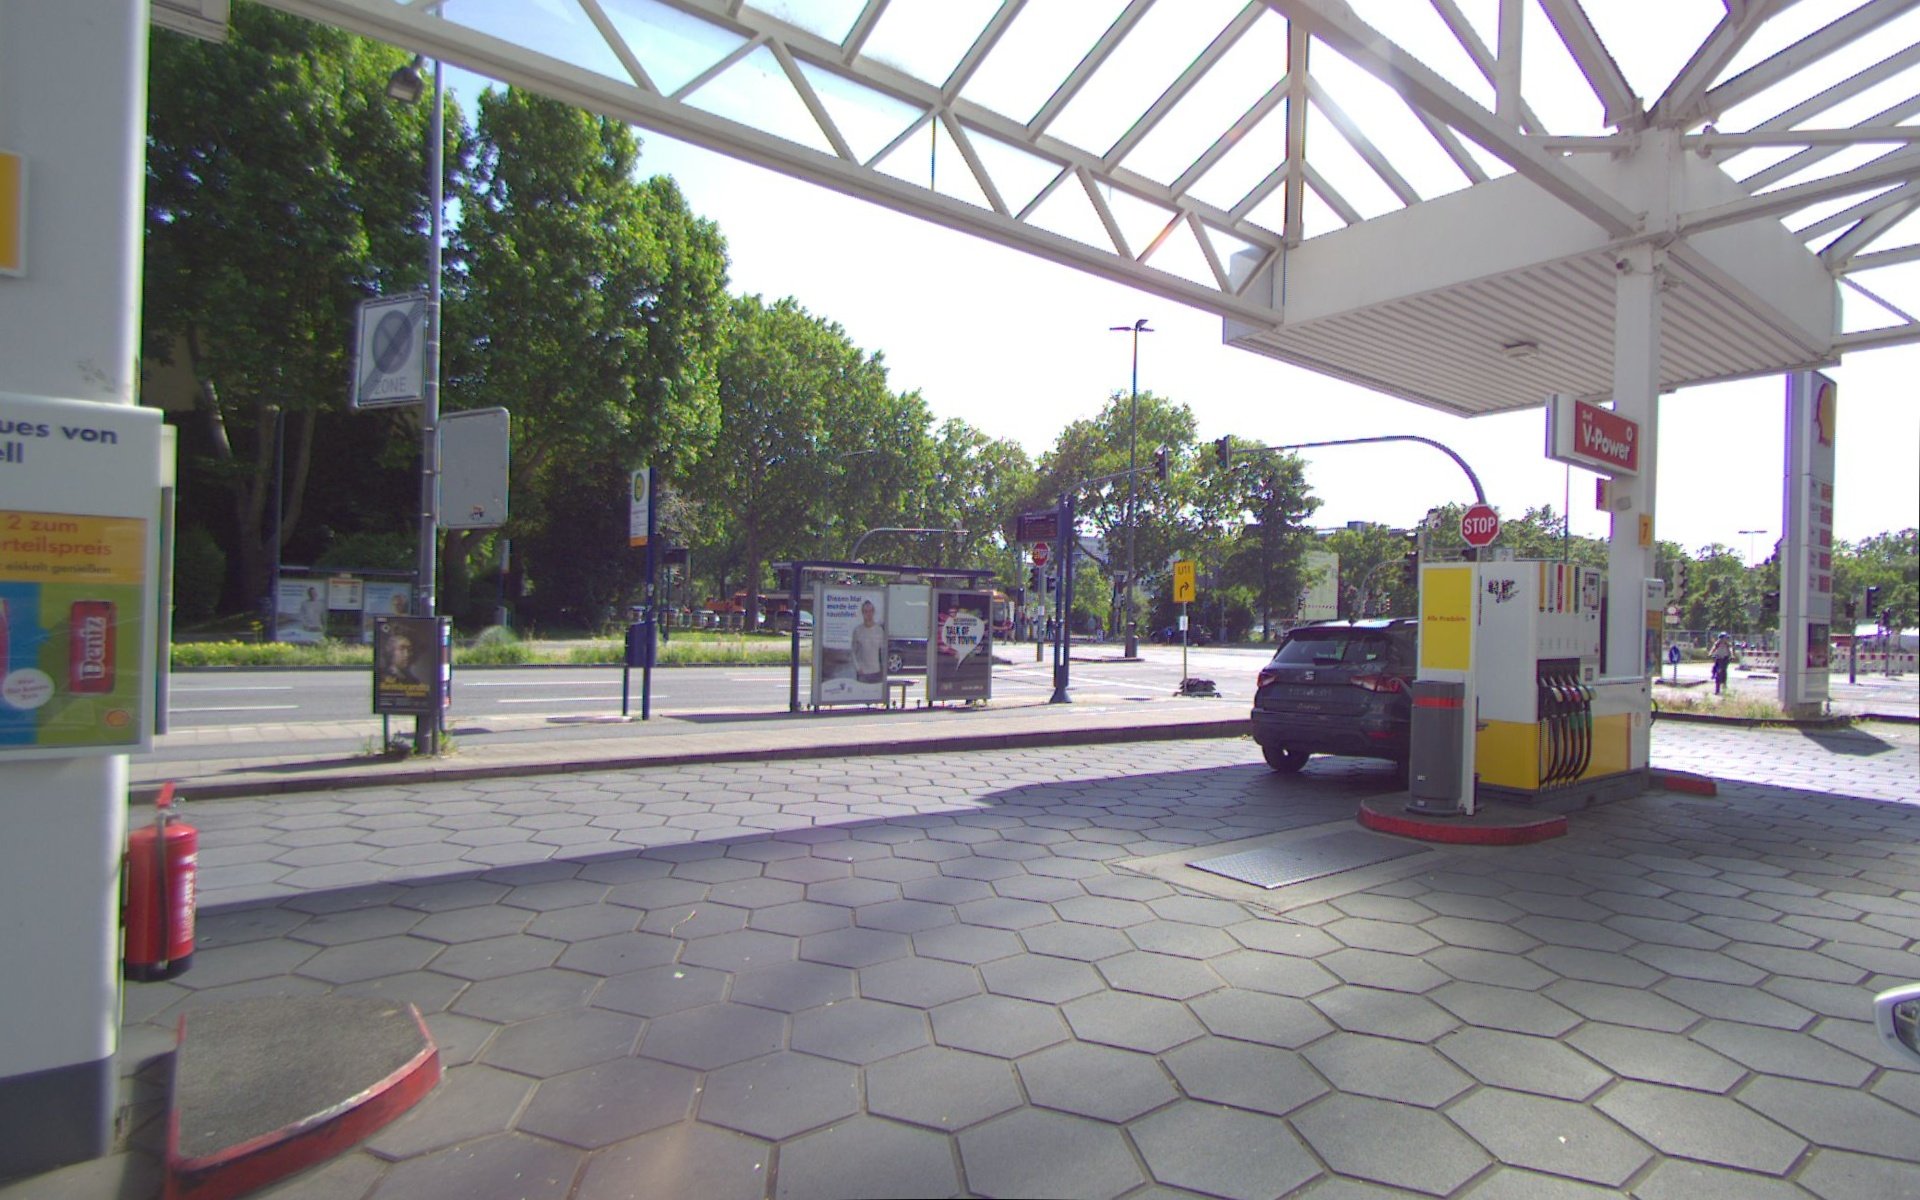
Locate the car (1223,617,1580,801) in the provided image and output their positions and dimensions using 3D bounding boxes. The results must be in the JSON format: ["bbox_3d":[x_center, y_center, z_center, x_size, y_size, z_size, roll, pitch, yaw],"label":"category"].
[{"bbox_3d":[4.674,1.012,10.404,3.965,1.552,1.730,3,-3,-38],"label":"car"}]

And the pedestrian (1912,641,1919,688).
[{"bbox_3d":[31.834,2.131,33.013,0.497,1.561,0.648,2,-1,-28],"label":"pedestrian"}]

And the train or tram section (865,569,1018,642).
[{"bbox_3d":[-1.669,0.363,70.271,2.307,4.549,14.785,3,-1,-37],"label":"train or tram section"}]

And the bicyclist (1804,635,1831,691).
[{"bbox_3d":[24.822,1.811,29.070,0.526,1.564,0.862,2,-1,39],"label":"bicyclist"}]

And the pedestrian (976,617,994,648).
[{"bbox_3d":[1.385,1.822,55.860,0.780,1.696,0.555,3,-3,-41],"label":"pedestrian"}]

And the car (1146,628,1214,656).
[{"bbox_3d":[15.071,2.875,68.889,4.138,1.829,1.996,-1,-3,32],"label":"car"}]

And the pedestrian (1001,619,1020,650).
[{"bbox_3d":[2.891,1.983,57.592,0.677,1.745,0.866,-1,-3,42],"label":"pedestrian"}]

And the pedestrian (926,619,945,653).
[{"bbox_3d":[-1.375,2.019,56.229,0.760,1.881,0.722,-1,-3,35],"label":"pedestrian"}]

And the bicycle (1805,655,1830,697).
[{"bbox_3d":[24.758,2.182,29.006,0.517,1.096,1.858,1,0,40],"label":"bicycle"}]

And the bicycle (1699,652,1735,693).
[{"bbox_3d":[22.565,2.139,29.944,0.631,1.096,2.014,1,0,43],"label":"bicycle"}]

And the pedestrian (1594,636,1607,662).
[{"bbox_3d":[37.221,2.844,58.347,0.555,1.488,0.513,1,0,28],"label":"pedestrian"}]

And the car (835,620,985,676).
[{"bbox_3d":[-1.370,1.343,28.282,3.966,1.385,1.667,3,1,-38],"label":"car"}]

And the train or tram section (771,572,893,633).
[{"bbox_3d":[-10.865,0.219,82.488,2.307,4.549,15.756,3,-1,-37],"label":"train or tram section"}]

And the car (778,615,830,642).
[{"bbox_3d":[-10.456,1.907,67.109,1.851,1.711,3.960,3,-3,-35],"label":"car"}]

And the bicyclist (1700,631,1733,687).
[{"bbox_3d":[22.545,1.728,29.917,0.631,1.601,1.166,1,0,44],"label":"bicyclist"}]

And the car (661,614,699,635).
[{"bbox_3d":[-23.755,2.111,85.028,1.851,1.711,3.960,3,-3,-35],"label":"car"}]

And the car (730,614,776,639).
[{"bbox_3d":[-15.086,1.944,73.094,1.851,1.711,3.960,3,-3,-35],"label":"car"}]
